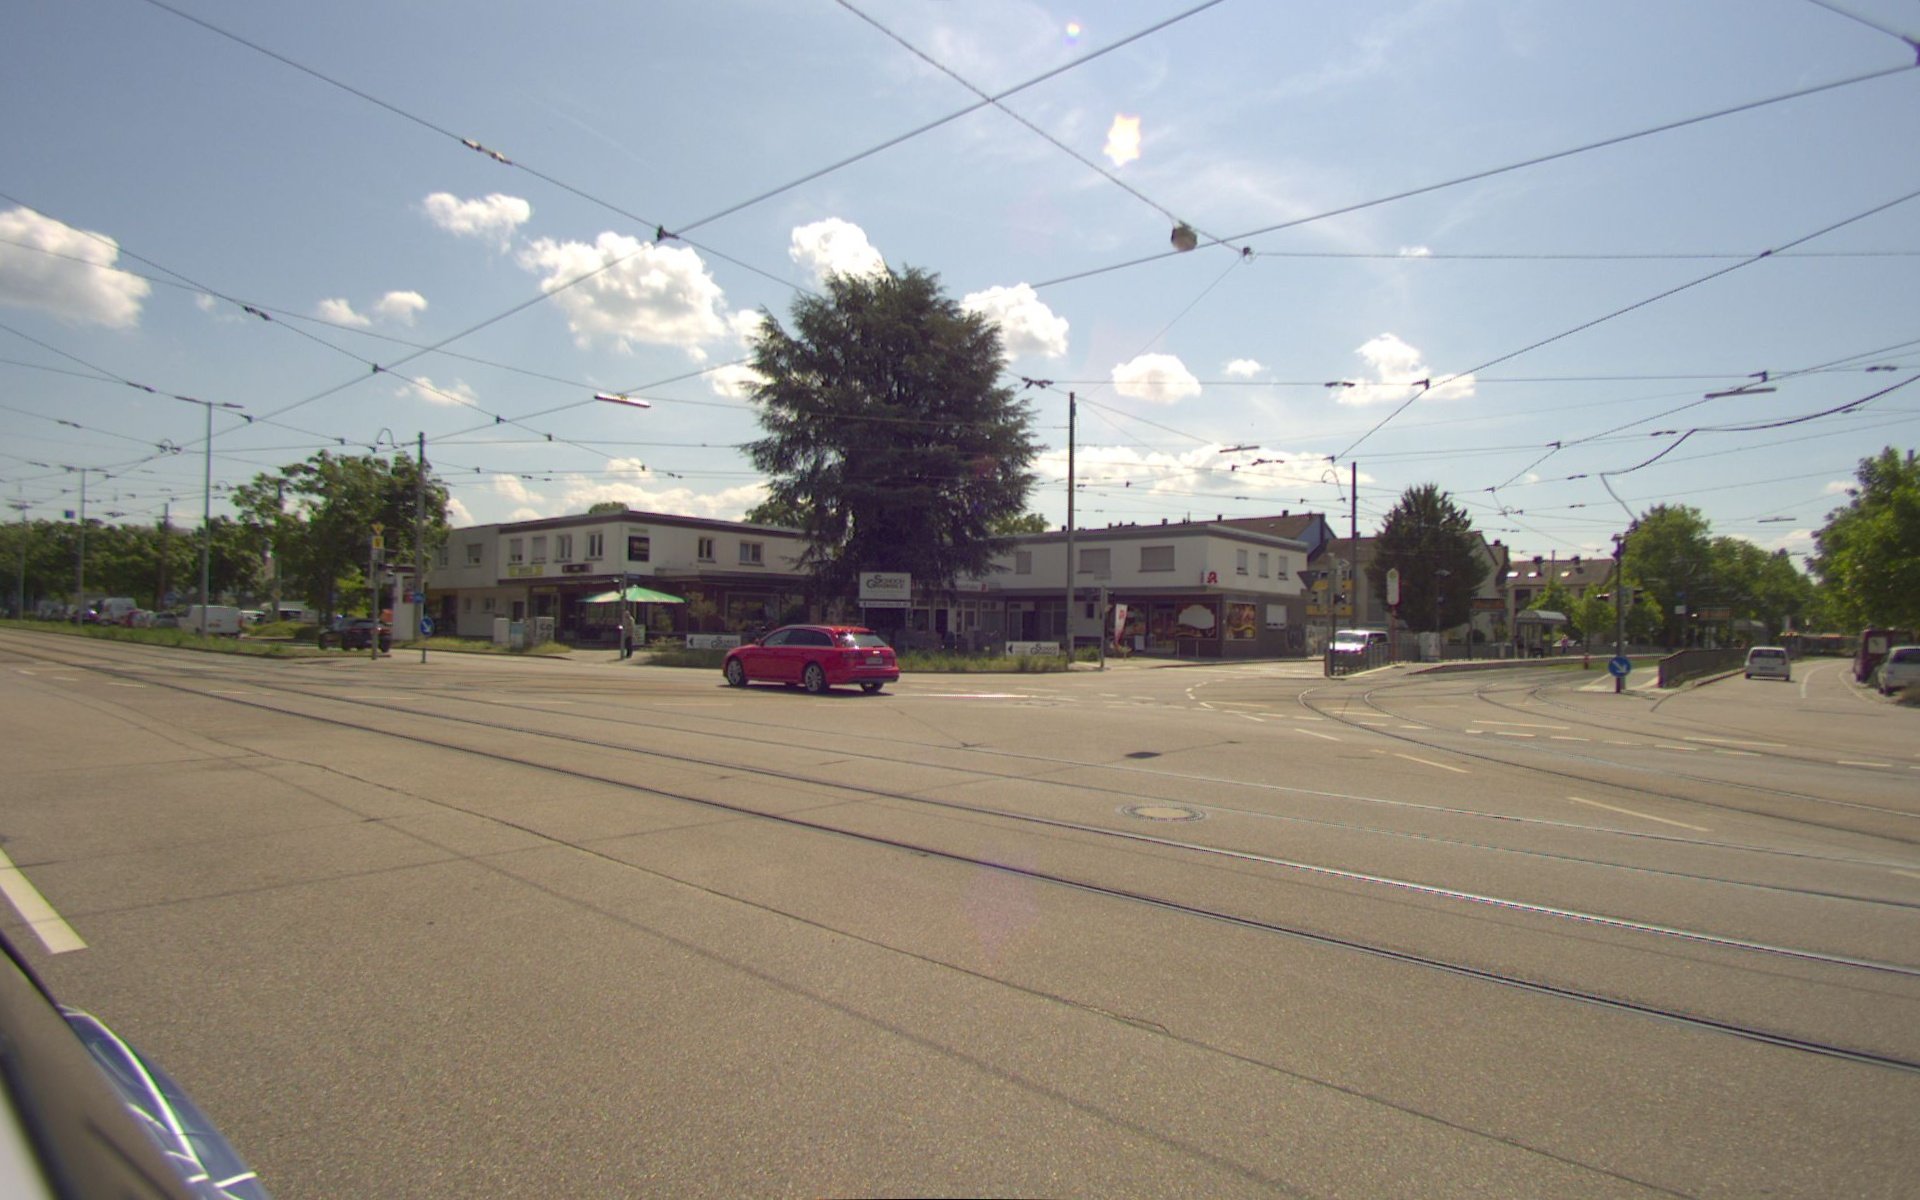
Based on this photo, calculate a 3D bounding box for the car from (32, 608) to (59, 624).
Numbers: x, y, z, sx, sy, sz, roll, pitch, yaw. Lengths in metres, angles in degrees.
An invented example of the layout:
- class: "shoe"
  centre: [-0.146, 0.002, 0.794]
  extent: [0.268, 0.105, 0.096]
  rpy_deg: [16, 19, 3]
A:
- class: "car"
  centre: [-103.108, 1.826, 114.109]
  extent: [3.997, 1.706, 1.722]
  rpy_deg: [-1, -3, 40]

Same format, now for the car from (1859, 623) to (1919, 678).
- class: "car"
  centre: [42.493, 2.302, 46.065]
  extent: [2.214, 2.356, 5.149]
  rpy_deg: [-1, -3, 40]

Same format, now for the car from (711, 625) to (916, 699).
- class: "car"
  centre: [-3.405, 1.333, 22.953]
  extent: [4.820, 1.461, 1.972]
  rpy_deg: [-1, -3, 42]

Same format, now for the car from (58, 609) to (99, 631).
- class: "car"
  centre: [-67.624, 1.543, 77.661]
  extent: [3.997, 1.608, 1.722]
  rpy_deg: [-1, -3, 40]

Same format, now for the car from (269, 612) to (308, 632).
- class: "car"
  centre: [-58.400, 1.879, 88.033]
  extent: [3.997, 1.706, 1.722]
  rpy_deg: [-1, -3, 40]

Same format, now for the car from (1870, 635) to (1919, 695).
- class: "car"
  centre: [31.516, 2.130, 33.251]
  extent: [1.997, 1.853, 4.760]
  rpy_deg: [0, -2, 37]

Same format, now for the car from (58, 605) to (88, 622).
- class: "car"
  centre: [-92.935, 1.411, 106.043]
  extent: [3.997, 1.706, 1.722]
  rpy_deg: [-1, -3, 40]

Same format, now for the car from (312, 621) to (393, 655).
- class: "car"
  centre: [-25.888, 1.602, 43.099]
  extent: [3.997, 1.364, 1.761]
  rpy_deg: [0, -2, 41]

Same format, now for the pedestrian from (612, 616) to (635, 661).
- class: "pedestrian"
  centre: [-13.583, 1.544, 40.863]
  extent: [0.679, 1.788, 0.485]
  rpy_deg: [0, 3, 22]

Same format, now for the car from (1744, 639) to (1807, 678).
- class: "car"
  centre: [37.183, 2.629, 46.113]
  extent: [1.999, 1.618, 4.754]
  rpy_deg: [-1, -2, 42]

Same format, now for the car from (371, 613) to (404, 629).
- class: "car"
  centre: [-61.074, 2.247, 107.938]
  extent: [3.997, 1.706, 1.722]
  rpy_deg: [-1, -3, 40]

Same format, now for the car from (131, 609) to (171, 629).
- class: "car"
  centre: [-65.926, 1.557, 82.466]
  extent: [3.997, 1.608, 1.722]
  rpy_deg: [-1, -3, 40]

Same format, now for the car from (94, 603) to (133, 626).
- class: "car"
  centre: [-75.476, 1.319, 90.223]
  extent: [3.997, 1.980, 1.942]
  rpy_deg: [-1, -3, 40]

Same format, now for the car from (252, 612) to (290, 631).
- class: "car"
  centre: [-62.065, 1.938, 91.122]
  extent: [3.997, 1.706, 1.722]
  rpy_deg: [-1, -3, 40]

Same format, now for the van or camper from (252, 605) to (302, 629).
- class: "van or camper"
  centre: [-91.930, 2.344, 136.169]
  extent: [2.246, 3.141, 5.091]
  rpy_deg: [-1, -3, 40]

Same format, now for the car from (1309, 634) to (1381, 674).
- class: "car"
  centre: [18.272, 2.539, 47.908]
  extent: [1.999, 1.741, 3.946]
  rpy_deg: [-1, -3, 40]

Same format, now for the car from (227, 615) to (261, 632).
- class: "car"
  centre: [-71.579, 2.346, 101.167]
  extent: [3.997, 1.706, 1.722]
  rpy_deg: [0, -2, 40]

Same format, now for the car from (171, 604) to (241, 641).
- class: "car"
  centre: [-41.060, 1.227, 55.095]
  extent: [4.548, 1.890, 1.840]
  rpy_deg: [0, -2, 38]

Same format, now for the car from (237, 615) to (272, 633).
- class: "car"
  centre: [-67.953, 2.299, 97.404]
  extent: [3.997, 1.706, 1.722]
  rpy_deg: [0, -2, 40]

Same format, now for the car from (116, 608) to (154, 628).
- class: "car"
  centre: [-70.285, 1.550, 86.182]
  extent: [3.997, 1.608, 1.722]
  rpy_deg: [-1, -3, 40]

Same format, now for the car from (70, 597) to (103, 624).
- class: "car"
  centre: [-86.453, 1.039, 100.138]
  extent: [3.997, 2.608, 1.722]
  rpy_deg: [-1, -3, 40]
